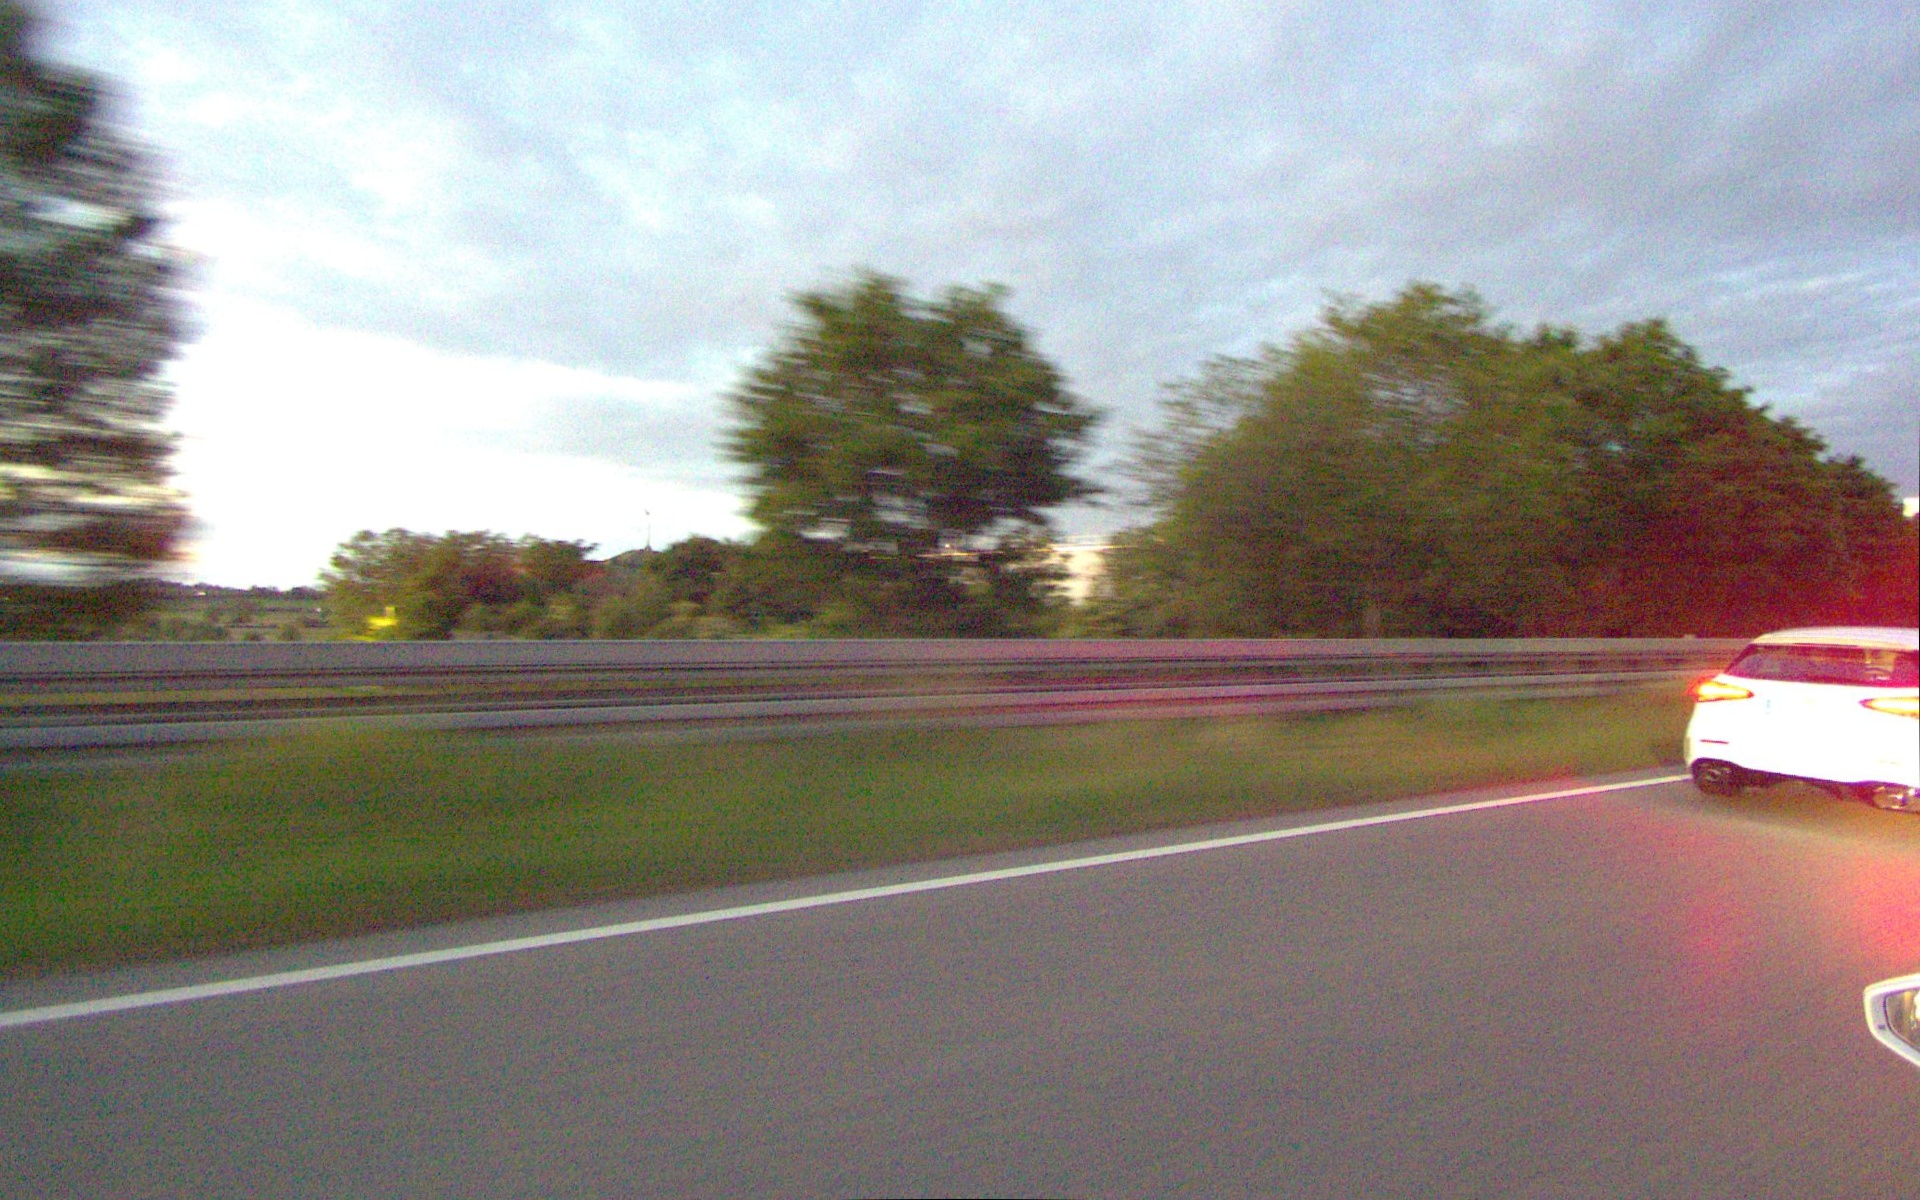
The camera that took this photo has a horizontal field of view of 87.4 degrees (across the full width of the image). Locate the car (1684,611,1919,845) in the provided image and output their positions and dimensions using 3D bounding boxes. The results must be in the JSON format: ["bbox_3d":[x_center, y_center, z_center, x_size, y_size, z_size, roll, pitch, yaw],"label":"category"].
[{"bbox_3d":[7.943,0.896,8.201,4.527,1.510,1.633,2,0,-31],"label":"car"}]
